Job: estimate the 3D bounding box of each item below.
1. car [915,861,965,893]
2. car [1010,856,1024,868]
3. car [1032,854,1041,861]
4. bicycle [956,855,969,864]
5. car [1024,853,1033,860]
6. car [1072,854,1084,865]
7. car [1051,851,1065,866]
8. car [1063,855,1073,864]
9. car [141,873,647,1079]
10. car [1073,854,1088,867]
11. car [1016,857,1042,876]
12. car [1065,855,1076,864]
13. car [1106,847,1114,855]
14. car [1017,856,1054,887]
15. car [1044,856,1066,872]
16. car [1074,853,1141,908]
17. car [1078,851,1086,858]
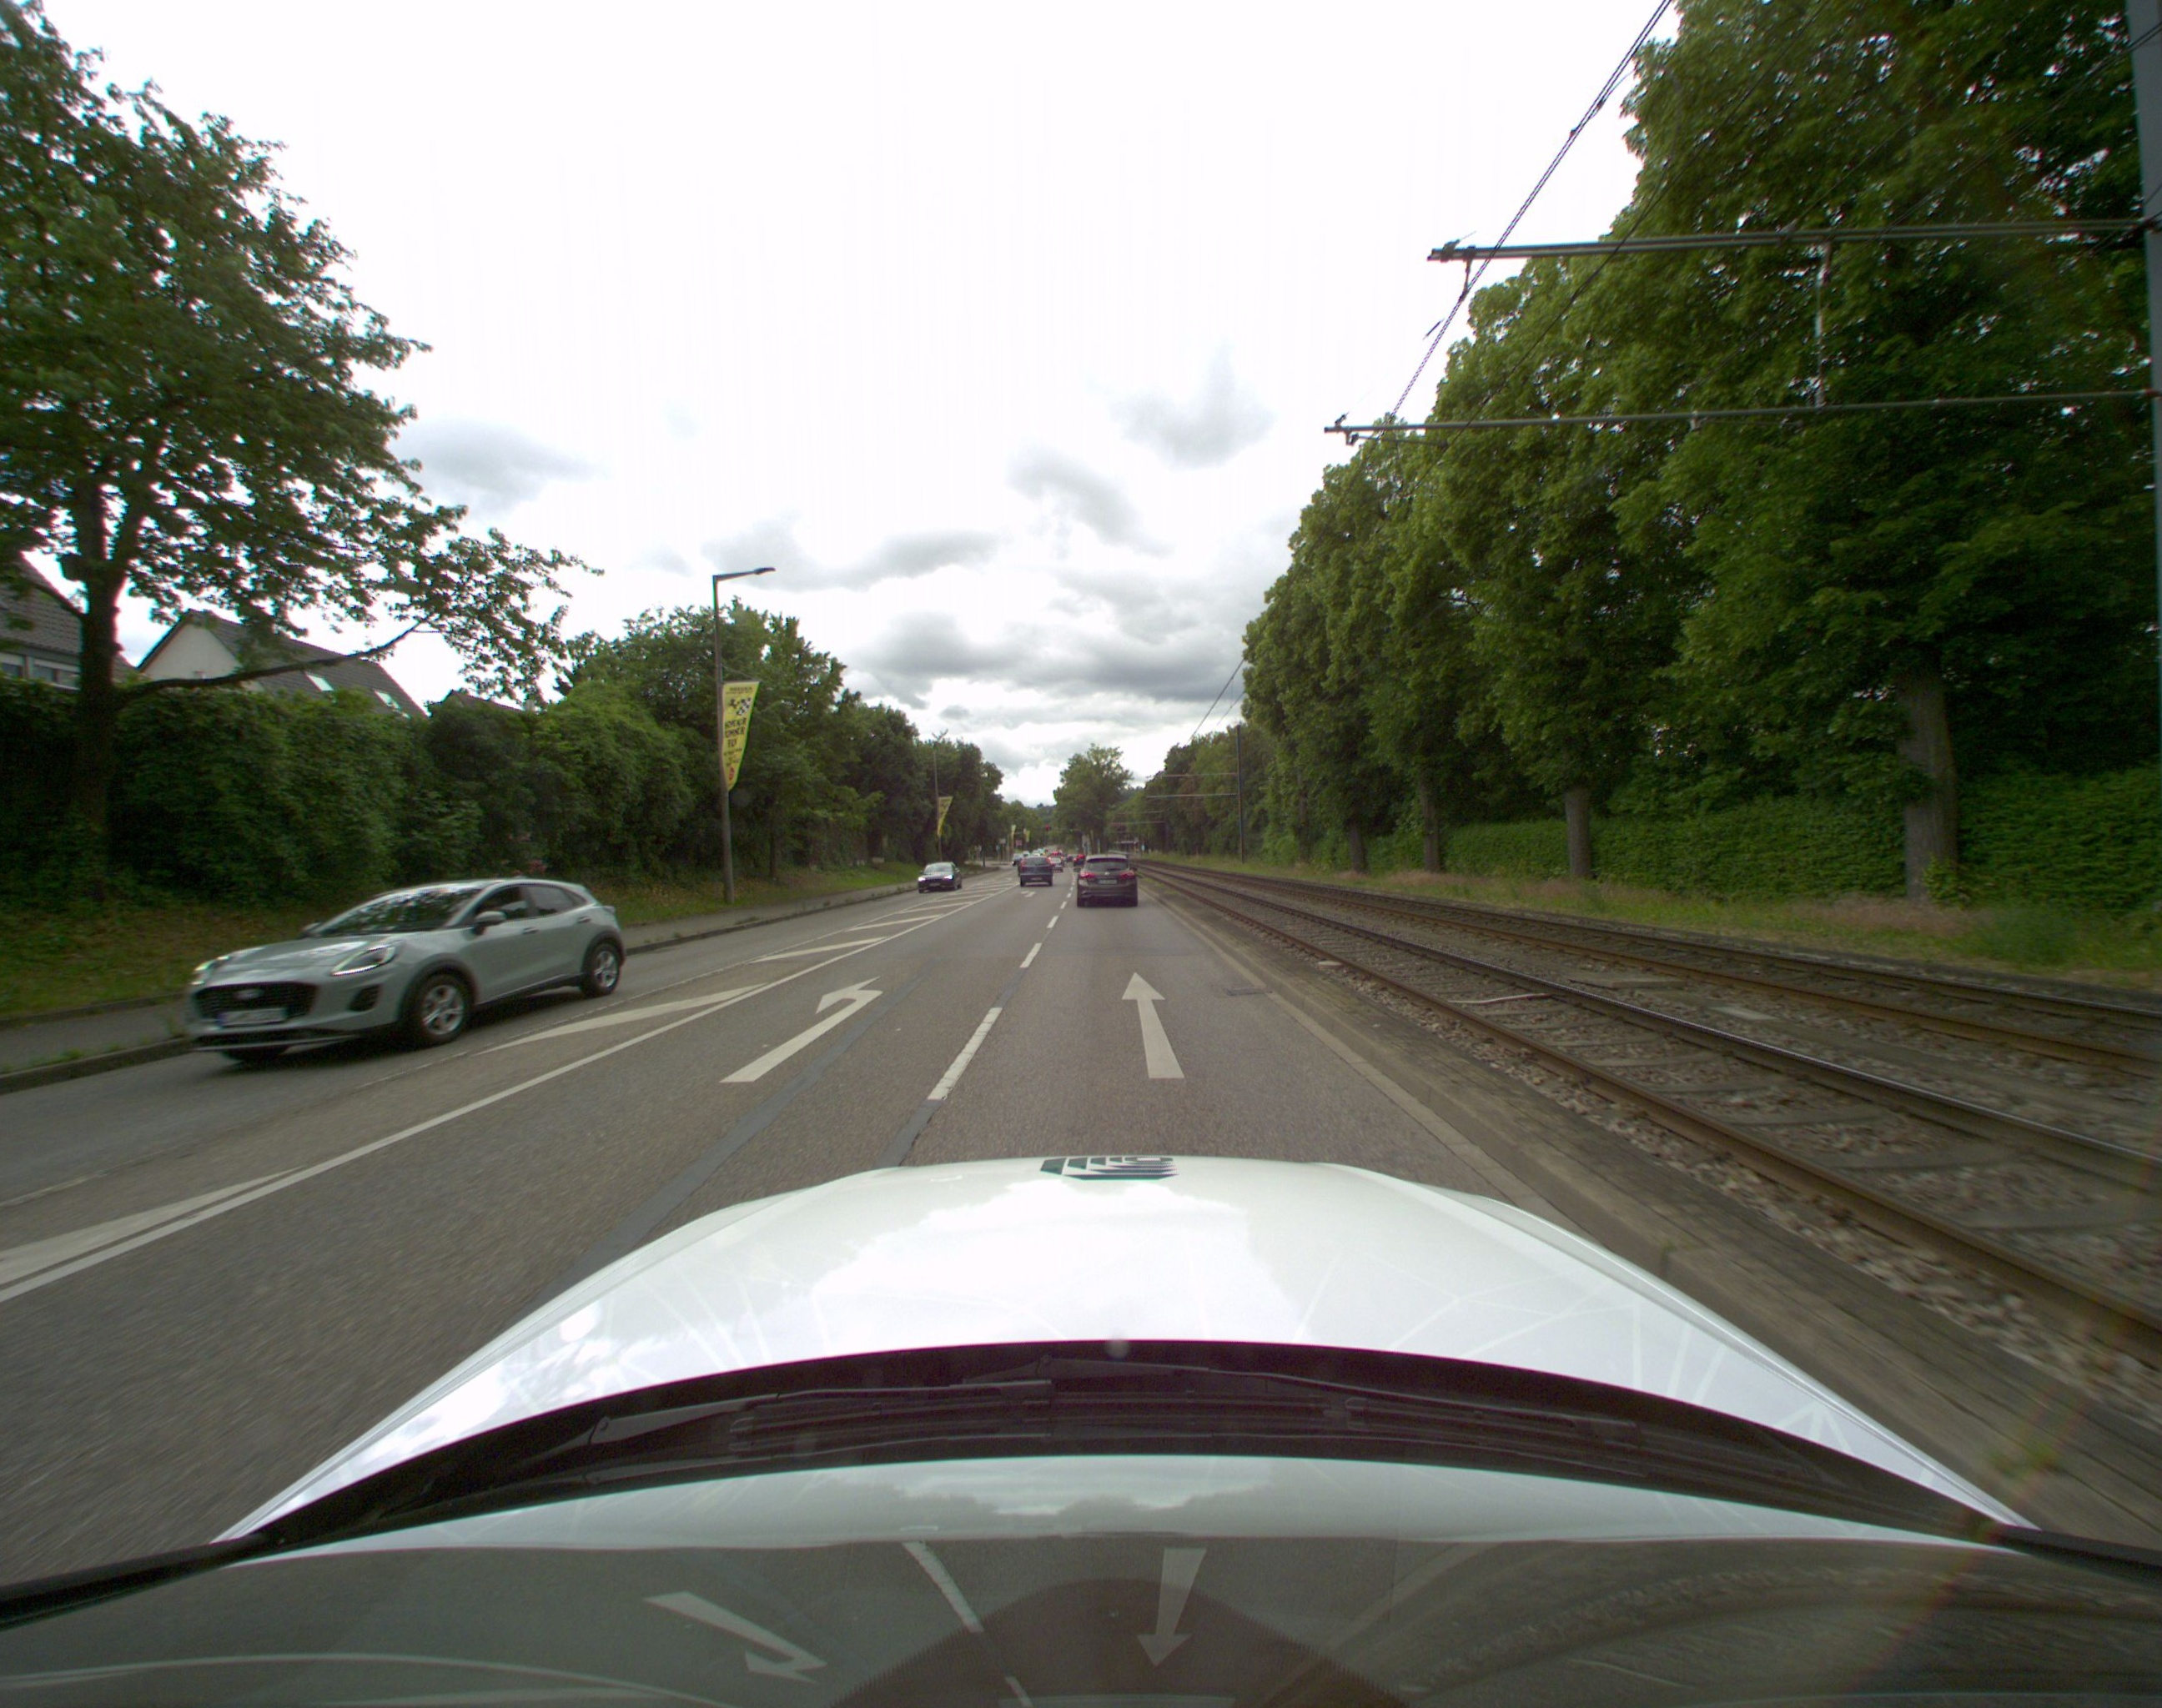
[{"bbox_3d":[-7.033,1.122,41.004,1.837,1.375,4.444,-4,0,-2],"label":"car"},{"bbox_3d":[-9.711,1.254,123.714,1.710,1.760,3.999,-1,0,0],"label":"car"},{"bbox_3d":[-11.207,0.862,205.688,1.709,1.550,4.001,-1,0,1],"label":"car"},{"bbox_3d":[-15.028,0.675,103.334,0.494,1.107,1.811,-1,0,32],"label":"bicycle"},{"bbox_3d":[-11.975,0.473,185.470,1.709,1.550,4.001,-1,0,1],"label":"car"},{"bbox_3d":[-0.417,0.849,117.912,1.709,1.550,4.001,-1,0,1],"label":"car"},{"bbox_3d":[-2.849,0.558,102.111,1.710,1.864,3.998,-1,0,-1],"label":"car"},{"bbox_3d":[-2.416,1.051,149.629,1.709,1.550,4.001,-1,0,1],"label":"car"},{"bbox_3d":[-6.745,1.049,8.760,1.821,1.457,4.142,-4,0,0],"label":"car"},{"bbox_3d":[-0.029,0.821,101.717,1.709,1.550,4.001,-1,0,1],"label":"car"},{"bbox_3d":[-3.963,0.940,62.496,1.710,1.435,3.999,-1,0,0],"label":"car"},{"bbox_3d":[-1.794,0.970,138.465,1.709,1.550,4.001,-1,0,1],"label":"car"},{"bbox_3d":[6.281,-0.594,177.536,1.710,1.663,3.706,-1,0,0],"label":"car"},{"bbox_3d":[-2.233,0.834,40.691,1.695,1.443,3.997,-1,0,-2],"label":"car"},{"bbox_3d":[-2.344,0.921,74.376,1.709,1.435,4.001,-1,0,1],"label":"car"},{"bbox_3d":[0.821,0.740,24.792,1.843,1.493,4.002,-1,0,2],"label":"car"},{"bbox_3d":[0.256,0.116,189.012,1.709,1.550,4.001,-1,0,1],"label":"car"}]
